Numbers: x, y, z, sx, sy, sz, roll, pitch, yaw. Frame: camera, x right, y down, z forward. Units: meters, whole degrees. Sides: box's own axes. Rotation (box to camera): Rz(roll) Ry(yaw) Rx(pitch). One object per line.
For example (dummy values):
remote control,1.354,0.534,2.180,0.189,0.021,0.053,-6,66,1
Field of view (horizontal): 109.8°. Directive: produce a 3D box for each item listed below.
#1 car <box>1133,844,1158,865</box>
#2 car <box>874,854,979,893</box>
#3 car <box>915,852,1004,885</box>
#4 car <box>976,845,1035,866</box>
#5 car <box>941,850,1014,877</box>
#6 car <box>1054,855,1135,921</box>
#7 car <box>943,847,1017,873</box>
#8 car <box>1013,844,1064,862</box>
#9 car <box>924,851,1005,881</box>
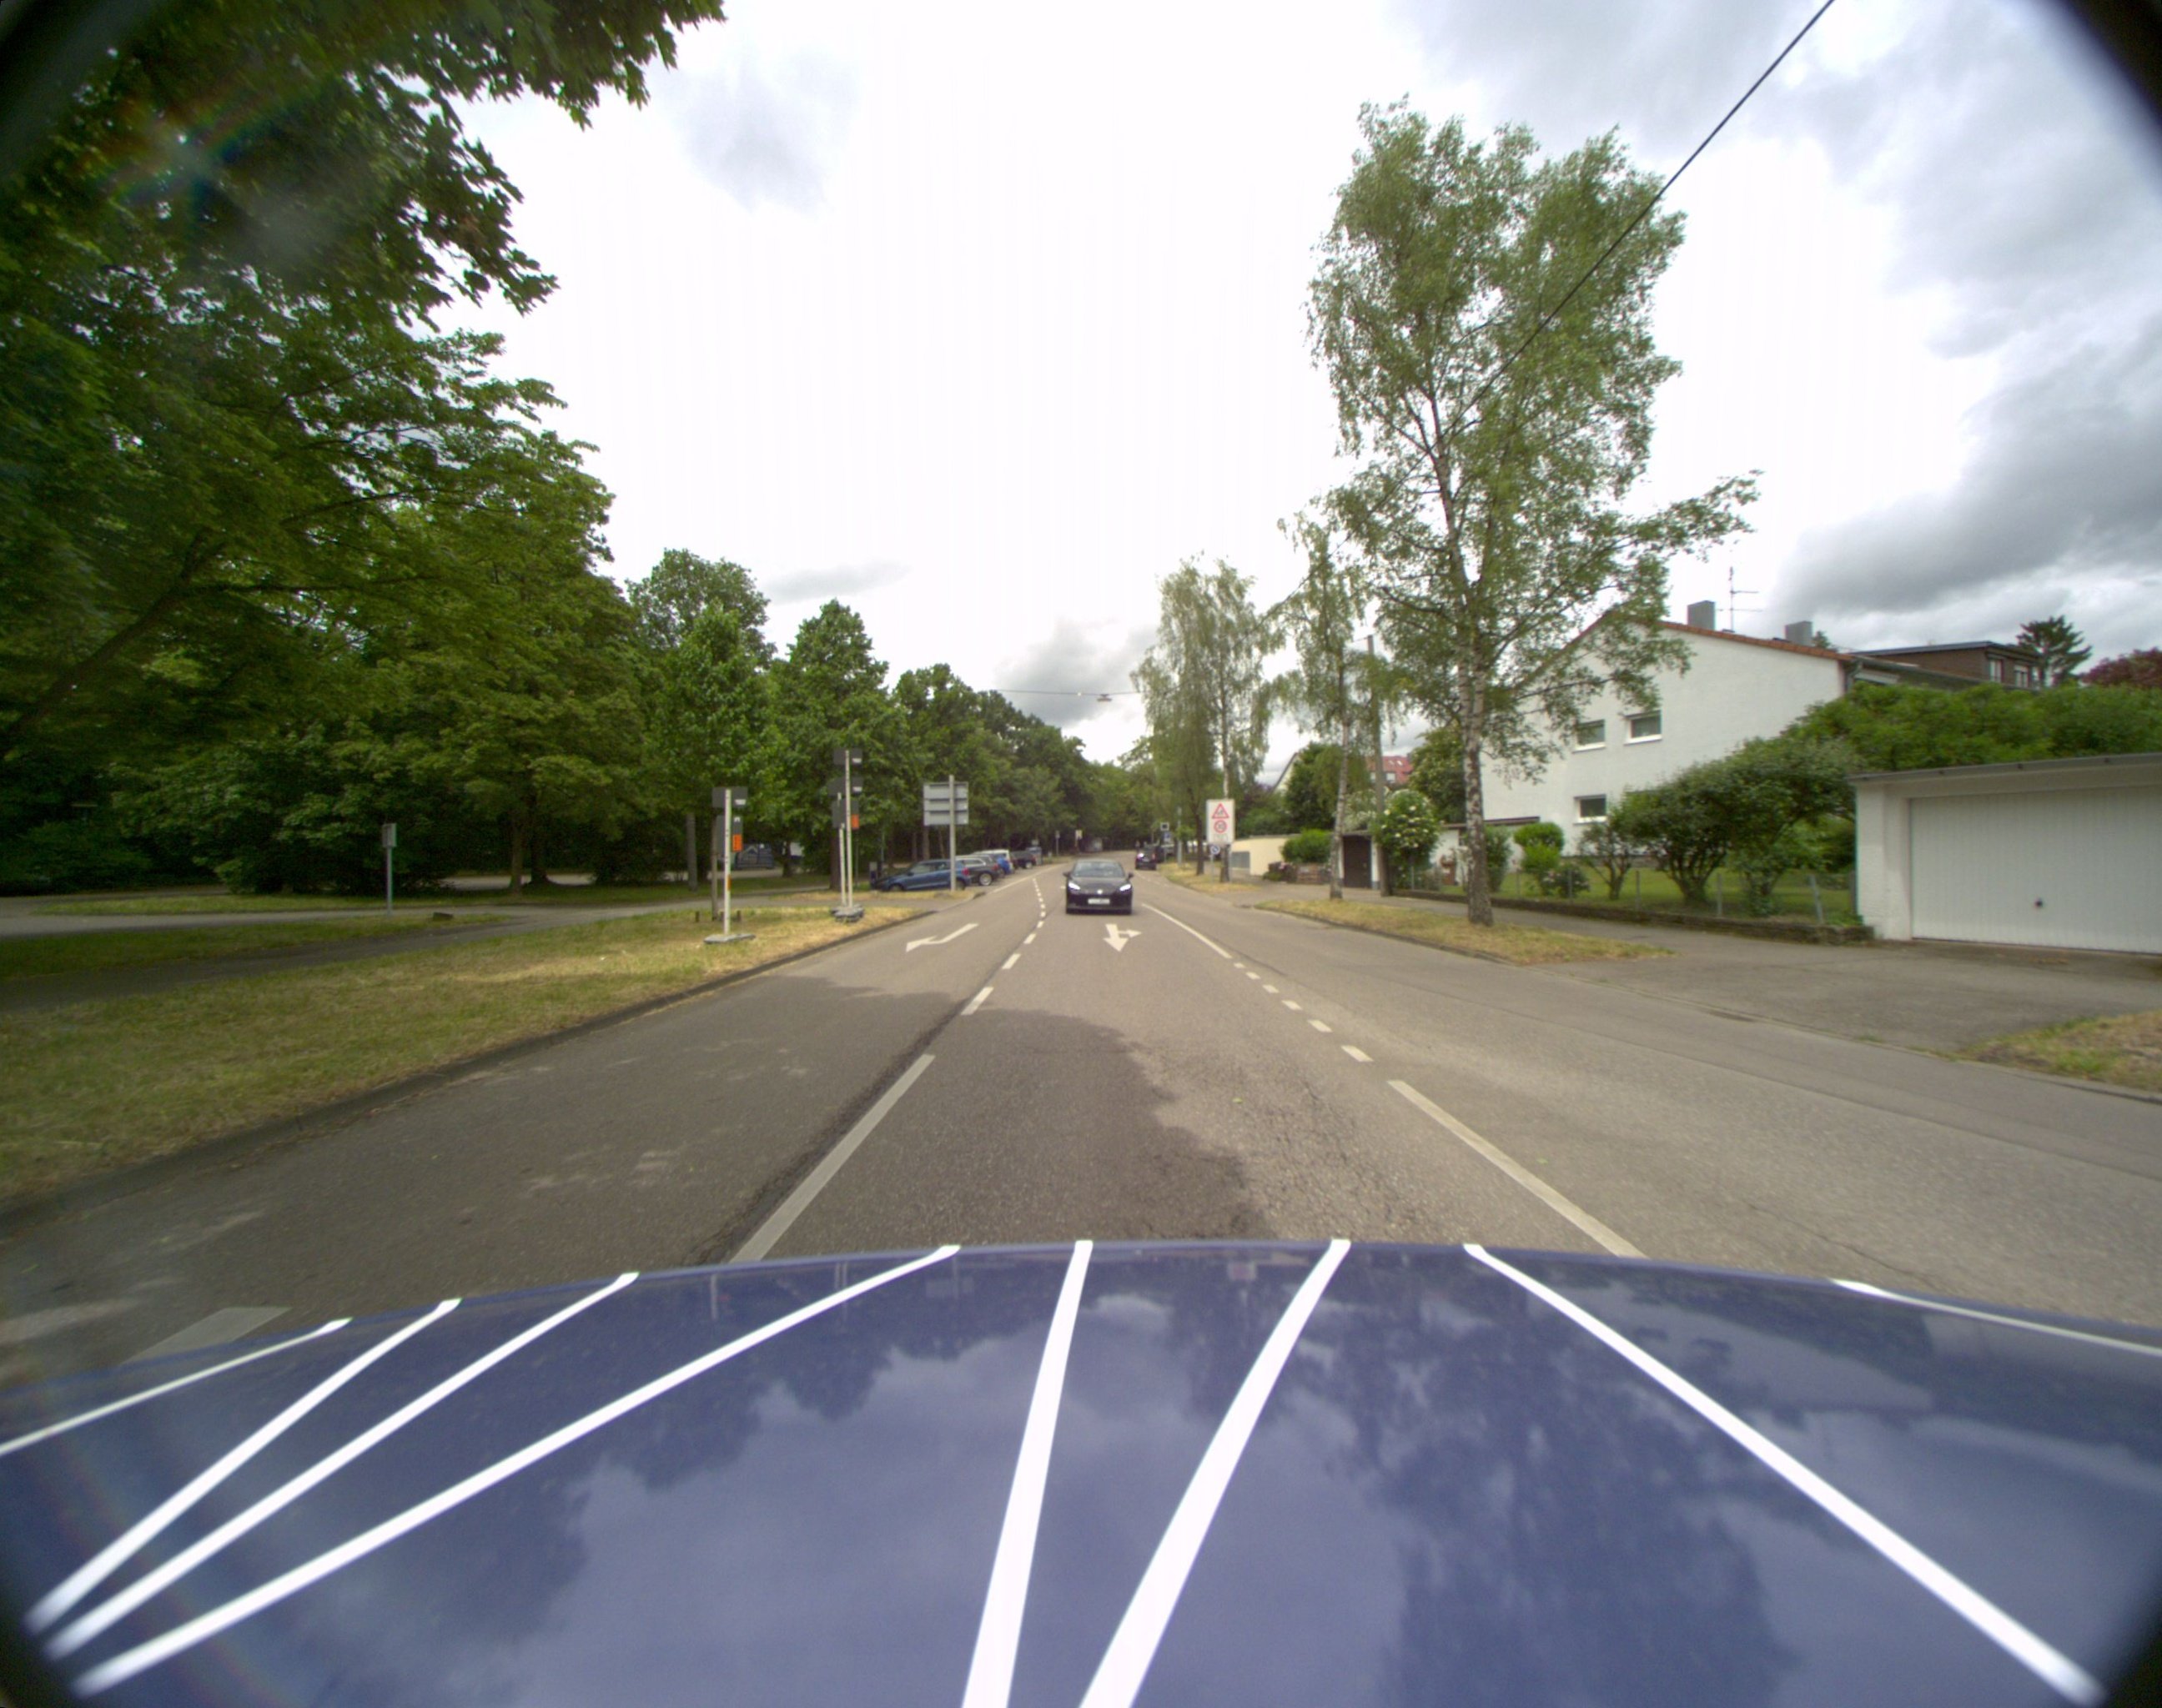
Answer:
car,5.387,0.007,63.684,1.974,1.600,4.418,1,3,4
car,-6.379,0.756,31.281,4.004,1.477,1.915,0,2,-19
car,-5.878,0.661,36.616,4.003,1.477,1.916,0,1,-16
car,-6.050,0.132,60.539,4.420,1.599,1.998,-1,0,-13
car,-6.087,0.526,44.442,4.003,1.477,1.916,0,1,-16
car,0.415,0.854,20.981,1.998,1.608,4.000,-1,0,2
car,-6.607,0.371,49.476,4.423,1.599,1.996,-1,0,-22
car,-3.884,-0.076,69.178,4.418,1.599,1.998,-1,0,-8
car,-6.133,0.610,39.916,4.003,1.477,1.916,0,1,-16
